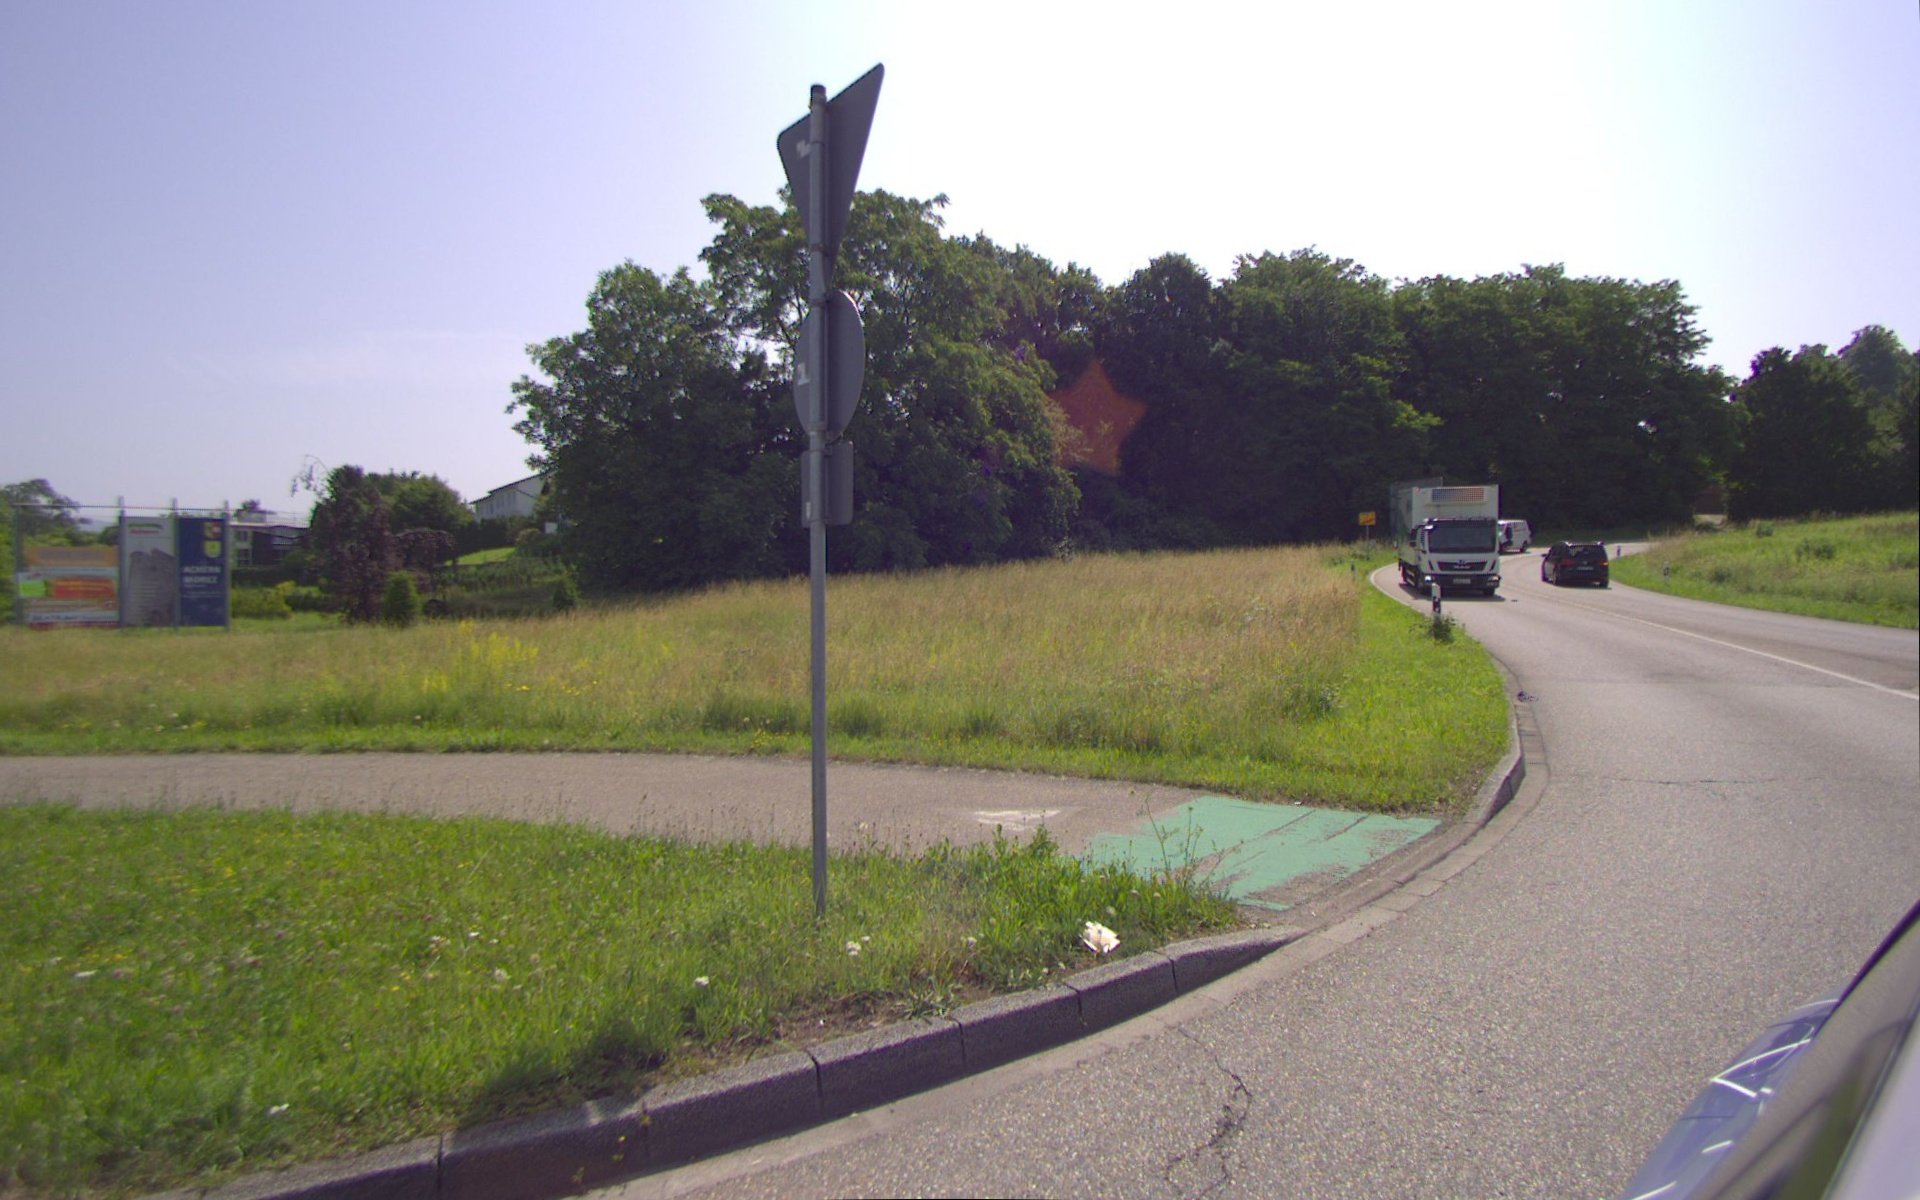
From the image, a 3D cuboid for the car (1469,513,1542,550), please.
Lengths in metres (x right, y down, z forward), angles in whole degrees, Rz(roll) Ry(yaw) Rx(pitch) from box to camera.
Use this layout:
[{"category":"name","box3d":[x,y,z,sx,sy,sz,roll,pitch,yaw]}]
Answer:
[{"category":"car","box3d":[32.775,-4.119,60.698,5.508,2.038,1.997,-4,2,-41]}]

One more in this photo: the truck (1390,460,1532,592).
[{"category":"truck","box3d":[17.145,-2.429,35.293,2.861,3.876,8.978,-2,2,17]}]

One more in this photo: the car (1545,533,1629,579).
[{"category":"car","box3d":[23.490,-1.624,38.090,1.890,1.615,4.343,1,2,21]}]
